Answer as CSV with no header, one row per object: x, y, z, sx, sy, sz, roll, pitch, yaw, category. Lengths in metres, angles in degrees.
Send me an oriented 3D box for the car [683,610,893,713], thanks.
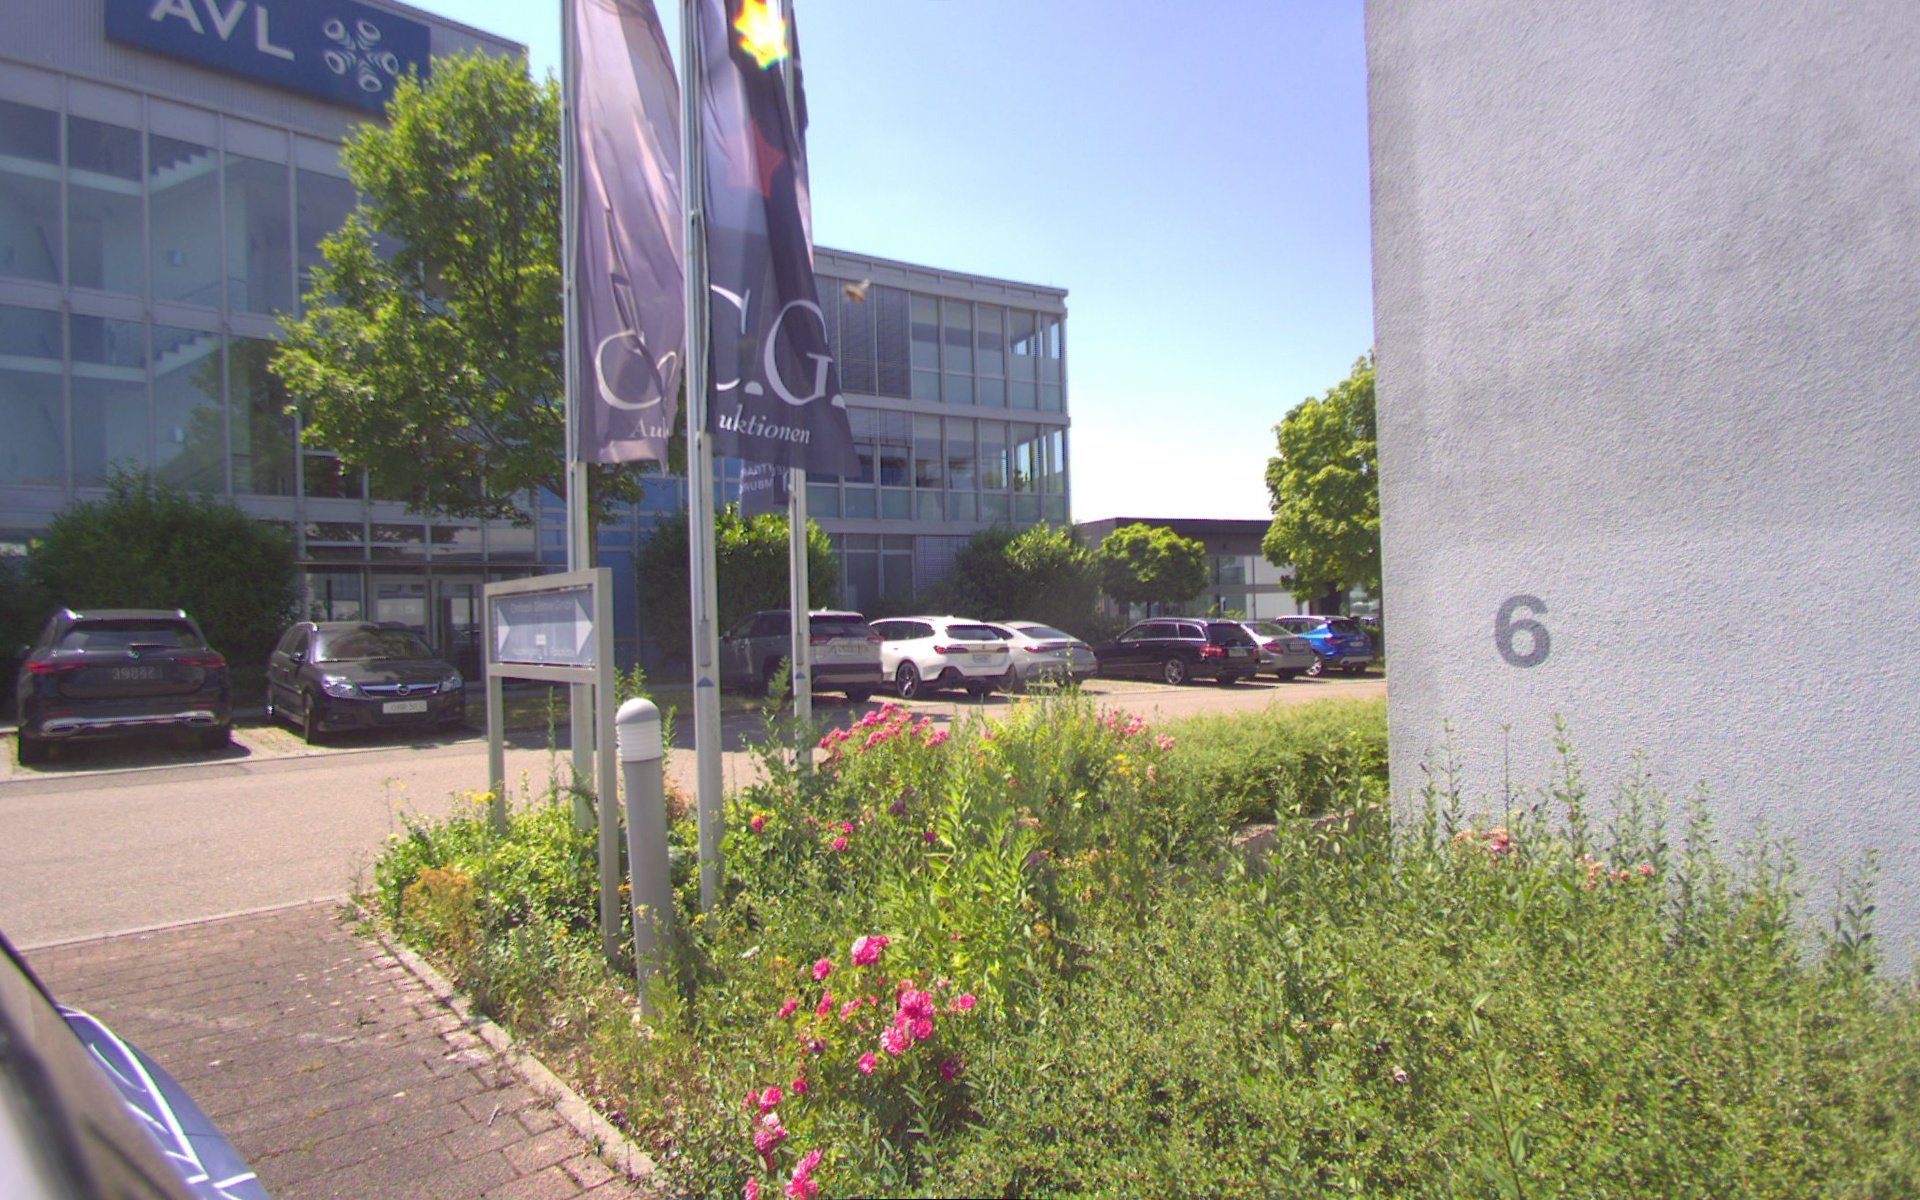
-3.207,1.031,18.288,1.805,1.650,4.176,1,-2,-42,car

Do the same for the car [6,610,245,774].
-9.998,0.941,12.024,1.911,1.615,3.863,1,-2,-43,car

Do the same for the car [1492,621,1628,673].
17.475,1.328,29.619,1.522,1.435,3.099,0,-1,-23,car

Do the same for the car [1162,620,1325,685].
6.943,1.238,25.241,1.722,1.435,4.185,0,-1,-21,car

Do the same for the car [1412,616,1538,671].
14.943,1.220,29.495,1.522,1.435,3.009,0,0,-23,car

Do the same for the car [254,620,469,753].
-8.275,1.049,13.803,1.704,1.495,4.402,0,-1,-42,car

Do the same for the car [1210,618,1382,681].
8.735,1.235,26.652,1.723,1.435,4.183,0,0,-32,car

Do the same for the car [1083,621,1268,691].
4.879,1.226,23.453,1.723,1.435,4.182,1,-1,-34,car

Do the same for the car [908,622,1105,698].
0.874,1.184,21.128,1.725,1.411,4.178,1,-2,-40,car

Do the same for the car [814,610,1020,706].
-0.942,1.047,19.611,1.805,1.650,4.178,1,-2,-40,car
